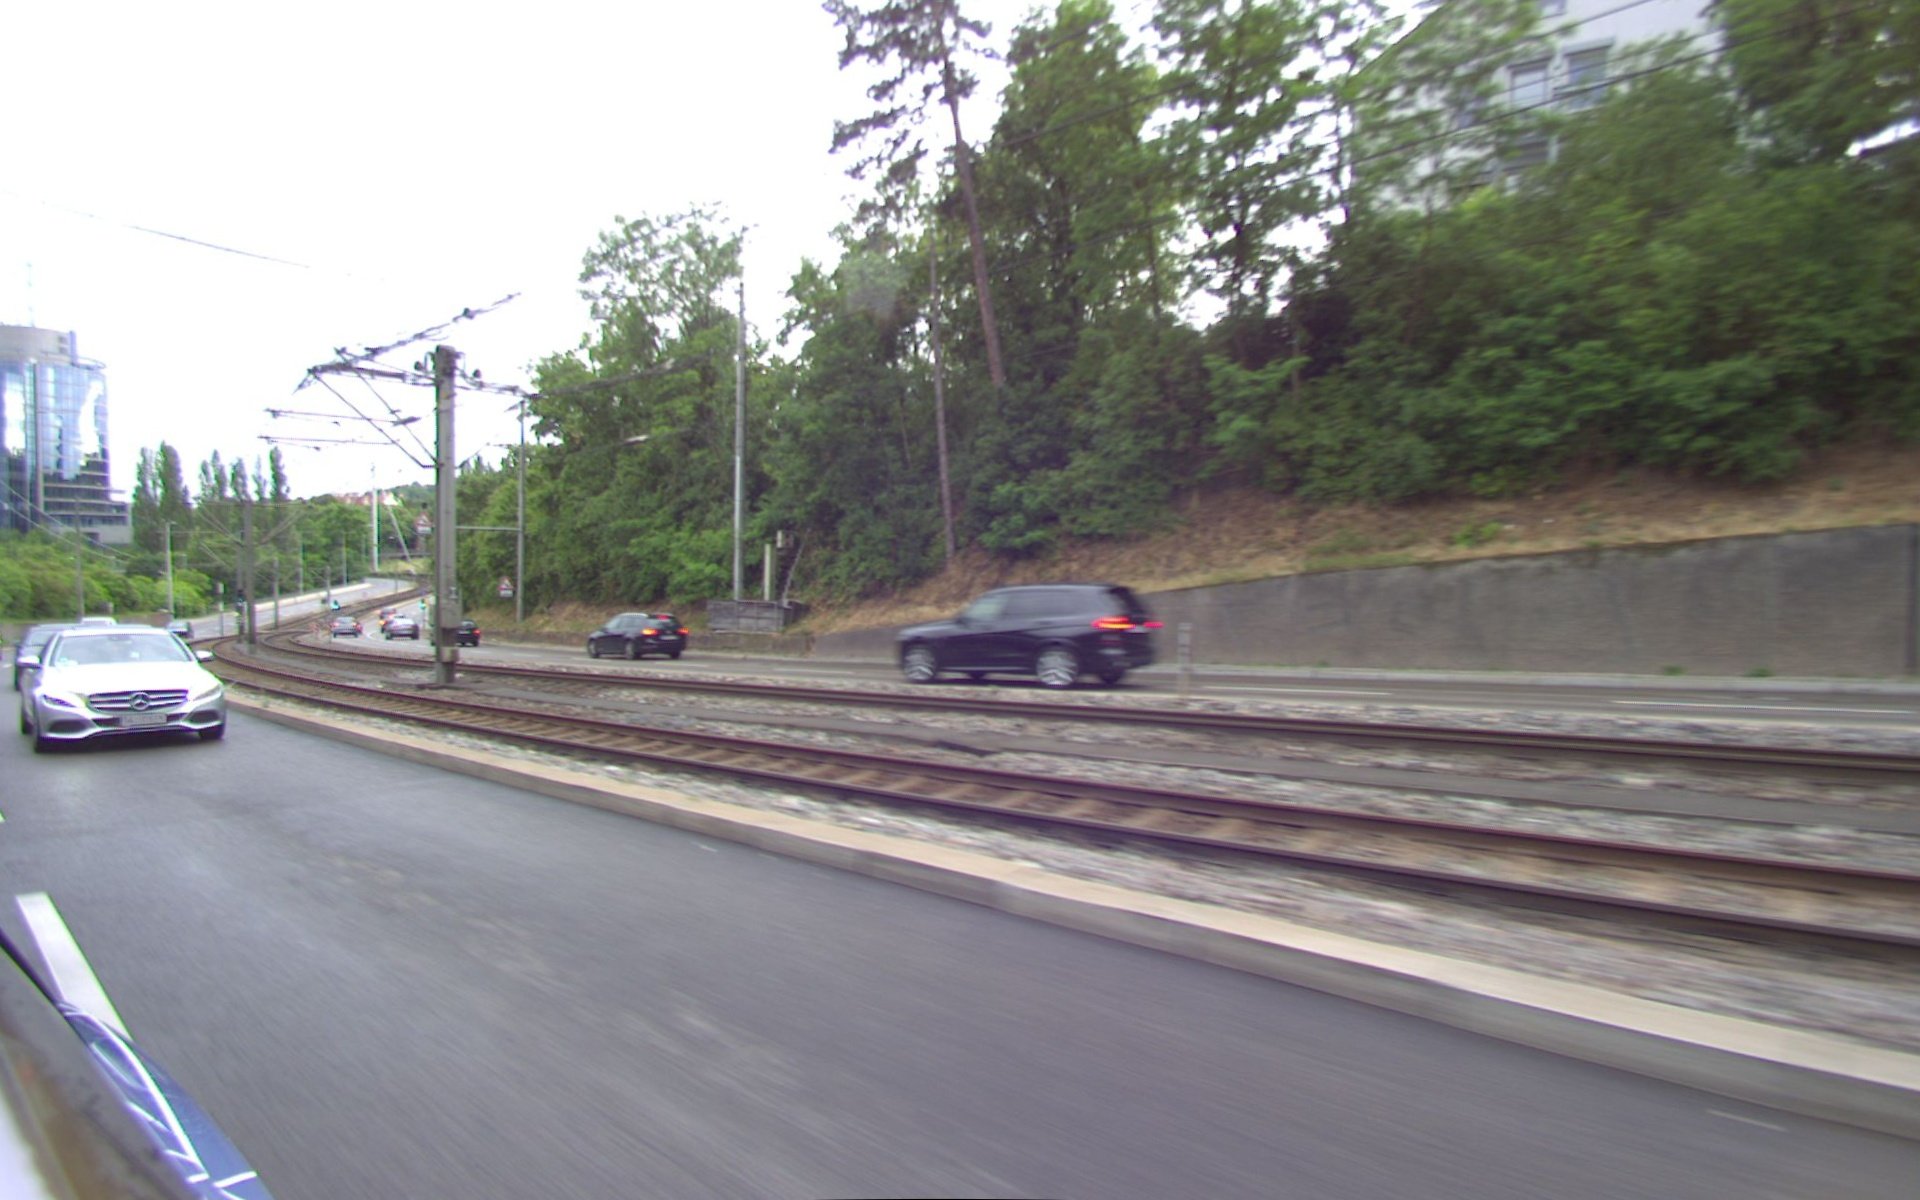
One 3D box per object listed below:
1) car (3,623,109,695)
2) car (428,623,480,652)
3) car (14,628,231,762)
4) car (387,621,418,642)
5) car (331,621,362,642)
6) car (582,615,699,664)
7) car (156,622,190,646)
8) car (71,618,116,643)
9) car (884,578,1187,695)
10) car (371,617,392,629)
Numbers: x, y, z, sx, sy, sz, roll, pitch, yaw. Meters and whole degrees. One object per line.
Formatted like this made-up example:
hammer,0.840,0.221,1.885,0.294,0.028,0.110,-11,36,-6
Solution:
car,-21.200,1.329,23.763,1.704,1.482,3.892,-2,0,-42
car,-25.730,1.892,51.370,1.868,1.392,4.464,0,-1,-33
car,-10.959,1.079,13.126,1.835,1.413,4.318,1,-2,-44
car,-38.131,2.161,69.260,1.776,1.434,4.476,1,-2,-29
car,-46.519,2.374,76.767,1.879,1.469,4.476,0,-2,-30
car,-10.429,1.267,32.865,4.415,1.482,1.804,-2,-2,45
car,-69.235,2.981,89.096,1.966,2.029,4.507,-1,-1,-32
car,-64.224,2.211,75.067,1.780,1.521,4.013,-2,3,-30
car,1.270,0.638,18.436,5.130,1.845,2.212,-2,-1,38
car,-73.961,2.960,129.415,2.178,1.469,4.476,-1,-1,-27
